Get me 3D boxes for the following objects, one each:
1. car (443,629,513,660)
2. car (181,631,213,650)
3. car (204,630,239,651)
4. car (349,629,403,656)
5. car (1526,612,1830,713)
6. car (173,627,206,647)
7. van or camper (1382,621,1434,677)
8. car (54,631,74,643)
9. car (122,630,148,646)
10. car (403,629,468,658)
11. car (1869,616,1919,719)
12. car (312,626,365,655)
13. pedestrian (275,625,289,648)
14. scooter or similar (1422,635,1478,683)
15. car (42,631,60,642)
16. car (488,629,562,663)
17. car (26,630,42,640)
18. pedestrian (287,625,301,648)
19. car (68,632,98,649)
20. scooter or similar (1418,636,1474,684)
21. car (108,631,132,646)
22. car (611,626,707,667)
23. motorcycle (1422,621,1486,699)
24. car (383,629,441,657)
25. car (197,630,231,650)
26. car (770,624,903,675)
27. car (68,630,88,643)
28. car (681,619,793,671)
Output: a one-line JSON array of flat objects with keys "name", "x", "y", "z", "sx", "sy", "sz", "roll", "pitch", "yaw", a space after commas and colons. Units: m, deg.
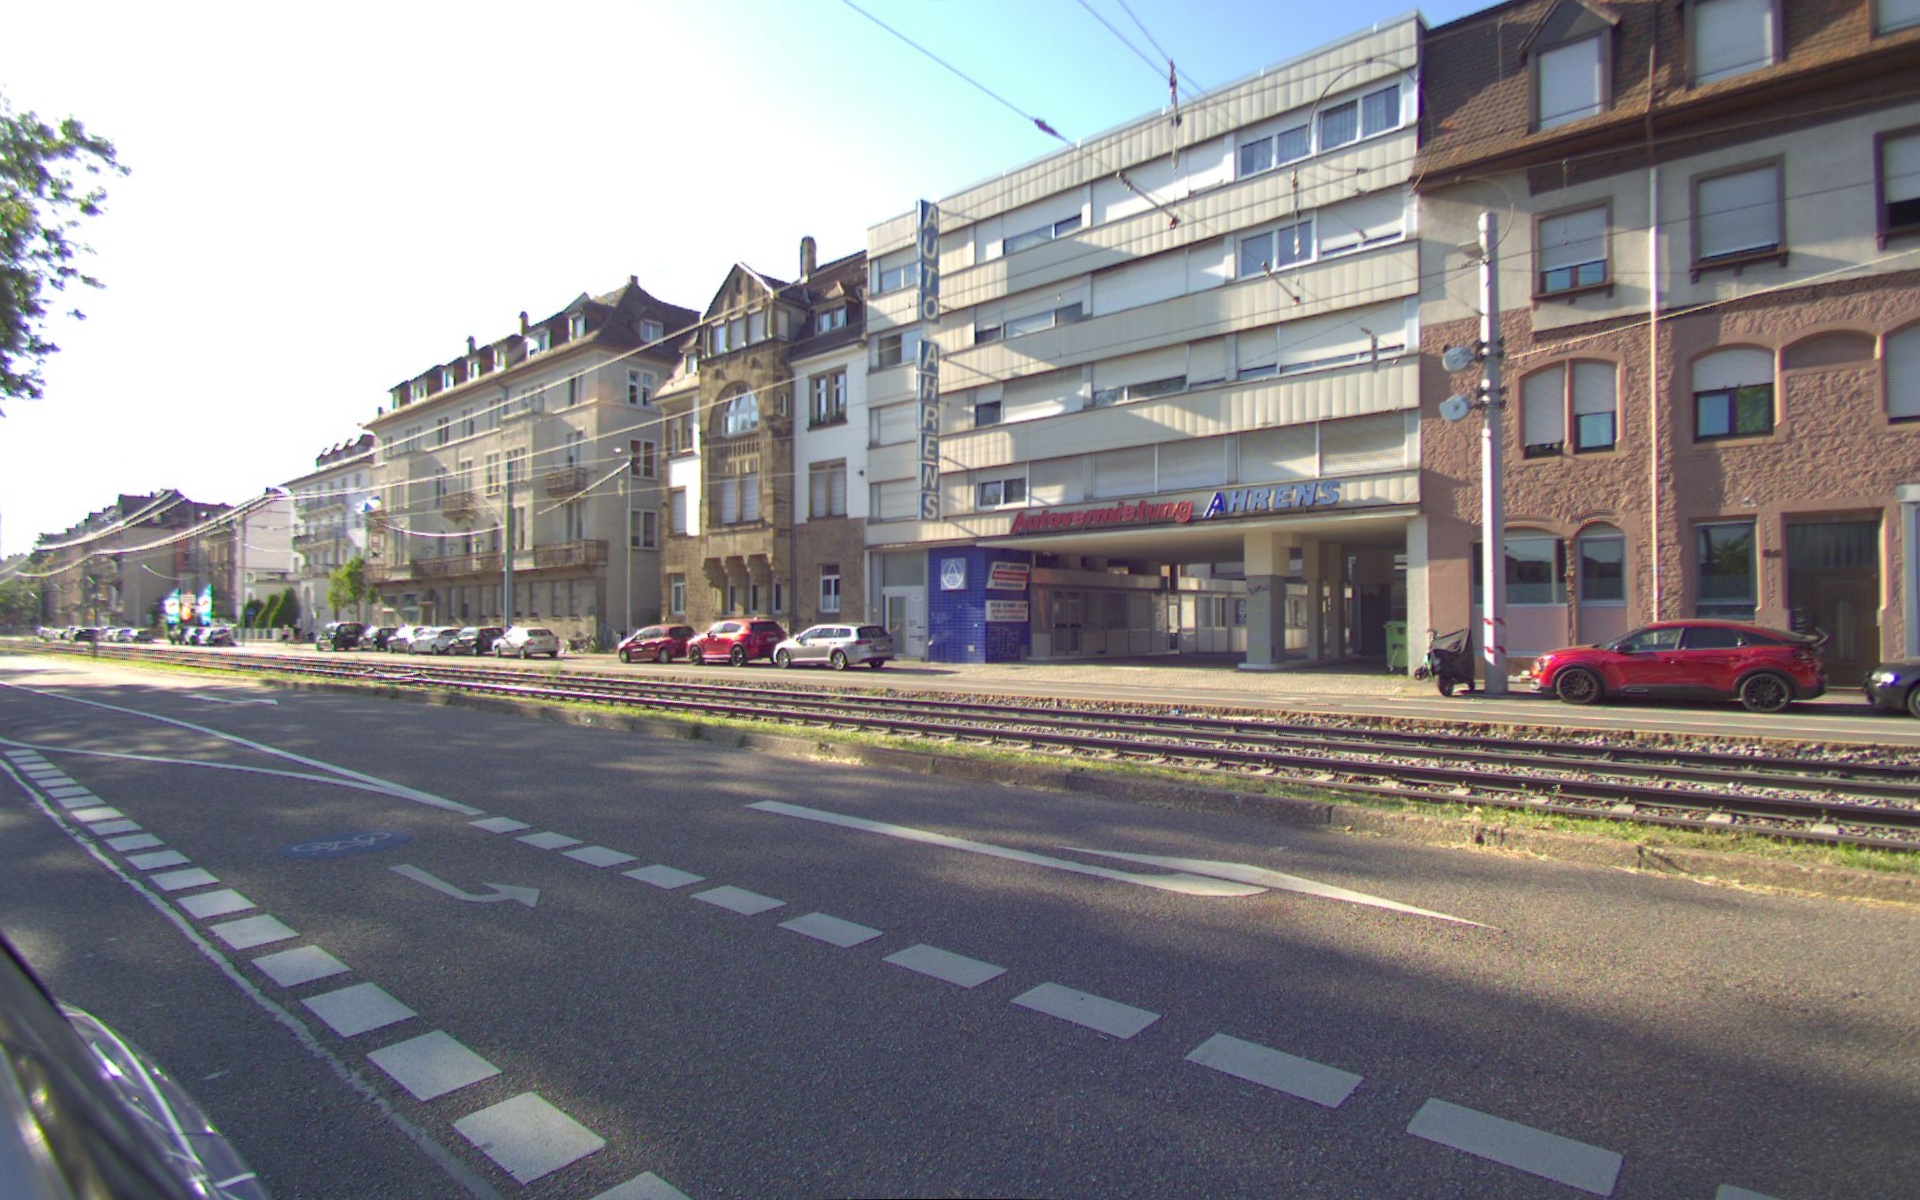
[{"name": "car", "x": -24.606, "y": 2.243, "z": 51.646, "sx": 3.820, "sy": 1.441, "sz": 1.779, "roll": -2, "pitch": -1, "yaw": 40}, {"name": "car", "x": -67.774, "y": 3.572, "z": 89.852, "sx": 3.387, "sy": 1.583, "sz": 1.662, "roll": -2, "pitch": -1, "yaw": 42}, {"name": "car", "x": -60.193, "y": 3.289, "z": 82.503, "sx": 3.407, "sy": 1.644, "sz": 1.655, "roll": -2, "pitch": -1, "yaw": 42}, {"name": "car", "x": -35.671, "y": 2.580, "z": 61.770, "sx": 3.822, "sy": 1.490, "sz": 1.778, "roll": -2, "pitch": -1, "yaw": 42}, {"name": "car", "x": 12.644, "y": 1.046, "z": 17.985, "sx": 4.208, "sy": 1.510, "sz": 1.837, "roll": -2, "pitch": 1, "yaw": 41}, {"name": "car", "x": -71.271, "y": 3.389, "z": 93.608, "sx": 3.879, "sy": 1.800, "sz": 1.705, "roll": -2, "pitch": -1, "yaw": 42}, {"name": "van or camper", "x": 11.372, "y": 1.227, "z": 25.689, "sx": 0.803, "sy": 1.368, "sz": 1.409, "roll": -2, "pitch": -2, "yaw": 41}, {"name": "car", "x": -125.264, "y": 5.225, "z": 141.470, "sx": 3.449, "sy": 1.602, "sz": 1.603, "roll": -2, "pitch": -1, "yaw": 42}, {"name": "car", "x": -86.999, "y": 4.016, "z": 106.657, "sx": 3.449, "sy": 1.602, "sz": 1.603, "roll": -2, "pitch": -1, "yaw": 42}, {"name": "car", "x": -28.060, "y": 2.338, "z": 54.104, "sx": 3.531, "sy": 1.457, "sz": 1.624, "roll": -2, "pitch": -1, "yaw": 35}, {"name": "car", "x": 15.912, "y": 0.980, "z": 14.703, "sx": 3.925, "sy": 1.448, "sz": 1.678, "roll": -2, "pitch": 1, "yaw": 41}, {"name": "car", "x": -40.052, "y": 2.606, "z": 65.196, "sx": 3.914, "sy": 1.750, "sz": 1.851, "roll": -2, "pitch": -1, "yaw": 42}, {"name": "pedestrian", "x": -54.367, "y": 2.944, "z": 81.144, "sx": 0.677, "sy": 1.803, "sz": 0.716, "roll": -2, "pitch": -3, "yaw": 41}, {"name": "scooter or similar", "x": 11.305, "y": 1.353, "z": 23.356, "sx": 1.121, "sy": 1.077, "sz": 0.202, "roll": -2, "pitch": -1, "yaw": 42}, {"name": "car", "x": -133.283, "y": 5.373, "z": 148.352, "sx": 3.449, "sy": 1.602, "sz": 1.603, "roll": -2, "pitch": -1, "yaw": 42}, {"name": "car", "x": -20.694, "y": 2.164, "z": 48.065, "sx": 3.822, "sy": 1.490, "sz": 1.778, "roll": -2, "pitch": -1, "yaw": 42}, {"name": "car", "x": -152.896, "y": 5.817, "z": 167.107, "sx": 3.449, "sy": 1.602, "sz": 1.603, "roll": -2, "pitch": -1, "yaw": 42}, {"name": "pedestrian", "x": -53.691, "y": 2.935, "z": 81.583, "sx": 0.677, "sy": 1.803, "sz": 0.716, "roll": -2, "pitch": -3, "yaw": 41}, {"name": "car", "x": -87.994, "y": 4.040, "z": 101.560, "sx": 3.999, "sy": 1.697, "sz": 1.798, "roll": -2, "pitch": -2, "yaw": 42}, {"name": "scooter or similar", "x": 11.112, "y": 1.364, "z": 23.152, "sx": 1.121, "sy": 1.077, "sz": 0.202, "roll": -2, "pitch": -1, "yaw": 42}, {"name": "car", "x": -93.728, "y": 4.281, "z": 112.893, "sx": 3.449, "sy": 1.602, "sz": 1.603, "roll": -2, "pitch": -1, "yaw": 42}, {"name": "car", "x": -11.944, "y": 1.831, "z": 40.132, "sx": 3.722, "sy": 1.507, "sz": 1.736, "roll": -2, "pitch": 0, "yaw": 36}, {"name": "motorcycle", "x": 10.004, "y": 1.183, "z": 20.465, "sx": 0.628, "sy": 1.433, "sz": 1.835, "roll": -3, "pitch": -1, "yaw": 41}, {"name": "car", "x": -31.328, "y": 2.438, "z": 57.816, "sx": 3.822, "sy": 1.490, "sz": 1.778, "roll": -2, "pitch": -1, "yaw": 42}, {"name": "car", "x": -63.727, "y": 3.421, "z": 86.459, "sx": 3.387, "sy": 1.583, "sz": 1.662, "roll": -2, "pitch": -1, "yaw": 42}, {"name": "car", "x": -4.085, "y": 1.593, "z": 33.121, "sx": 4.379, "sy": 1.510, "sz": 1.837, "roll": -2, "pitch": 0, "yaw": 41}, {"name": "car", "x": -119.211, "y": 4.910, "z": 136.780, "sx": 3.449, "sy": 1.602, "sz": 1.603, "roll": -2, "pitch": -1, "yaw": 42}, {"name": "car", "x": -8.113, "y": 1.601, "z": 36.649, "sx": 4.262, "sy": 1.700, "sz": 1.836, "roll": -2, "pitch": -1, "yaw": 43}]
